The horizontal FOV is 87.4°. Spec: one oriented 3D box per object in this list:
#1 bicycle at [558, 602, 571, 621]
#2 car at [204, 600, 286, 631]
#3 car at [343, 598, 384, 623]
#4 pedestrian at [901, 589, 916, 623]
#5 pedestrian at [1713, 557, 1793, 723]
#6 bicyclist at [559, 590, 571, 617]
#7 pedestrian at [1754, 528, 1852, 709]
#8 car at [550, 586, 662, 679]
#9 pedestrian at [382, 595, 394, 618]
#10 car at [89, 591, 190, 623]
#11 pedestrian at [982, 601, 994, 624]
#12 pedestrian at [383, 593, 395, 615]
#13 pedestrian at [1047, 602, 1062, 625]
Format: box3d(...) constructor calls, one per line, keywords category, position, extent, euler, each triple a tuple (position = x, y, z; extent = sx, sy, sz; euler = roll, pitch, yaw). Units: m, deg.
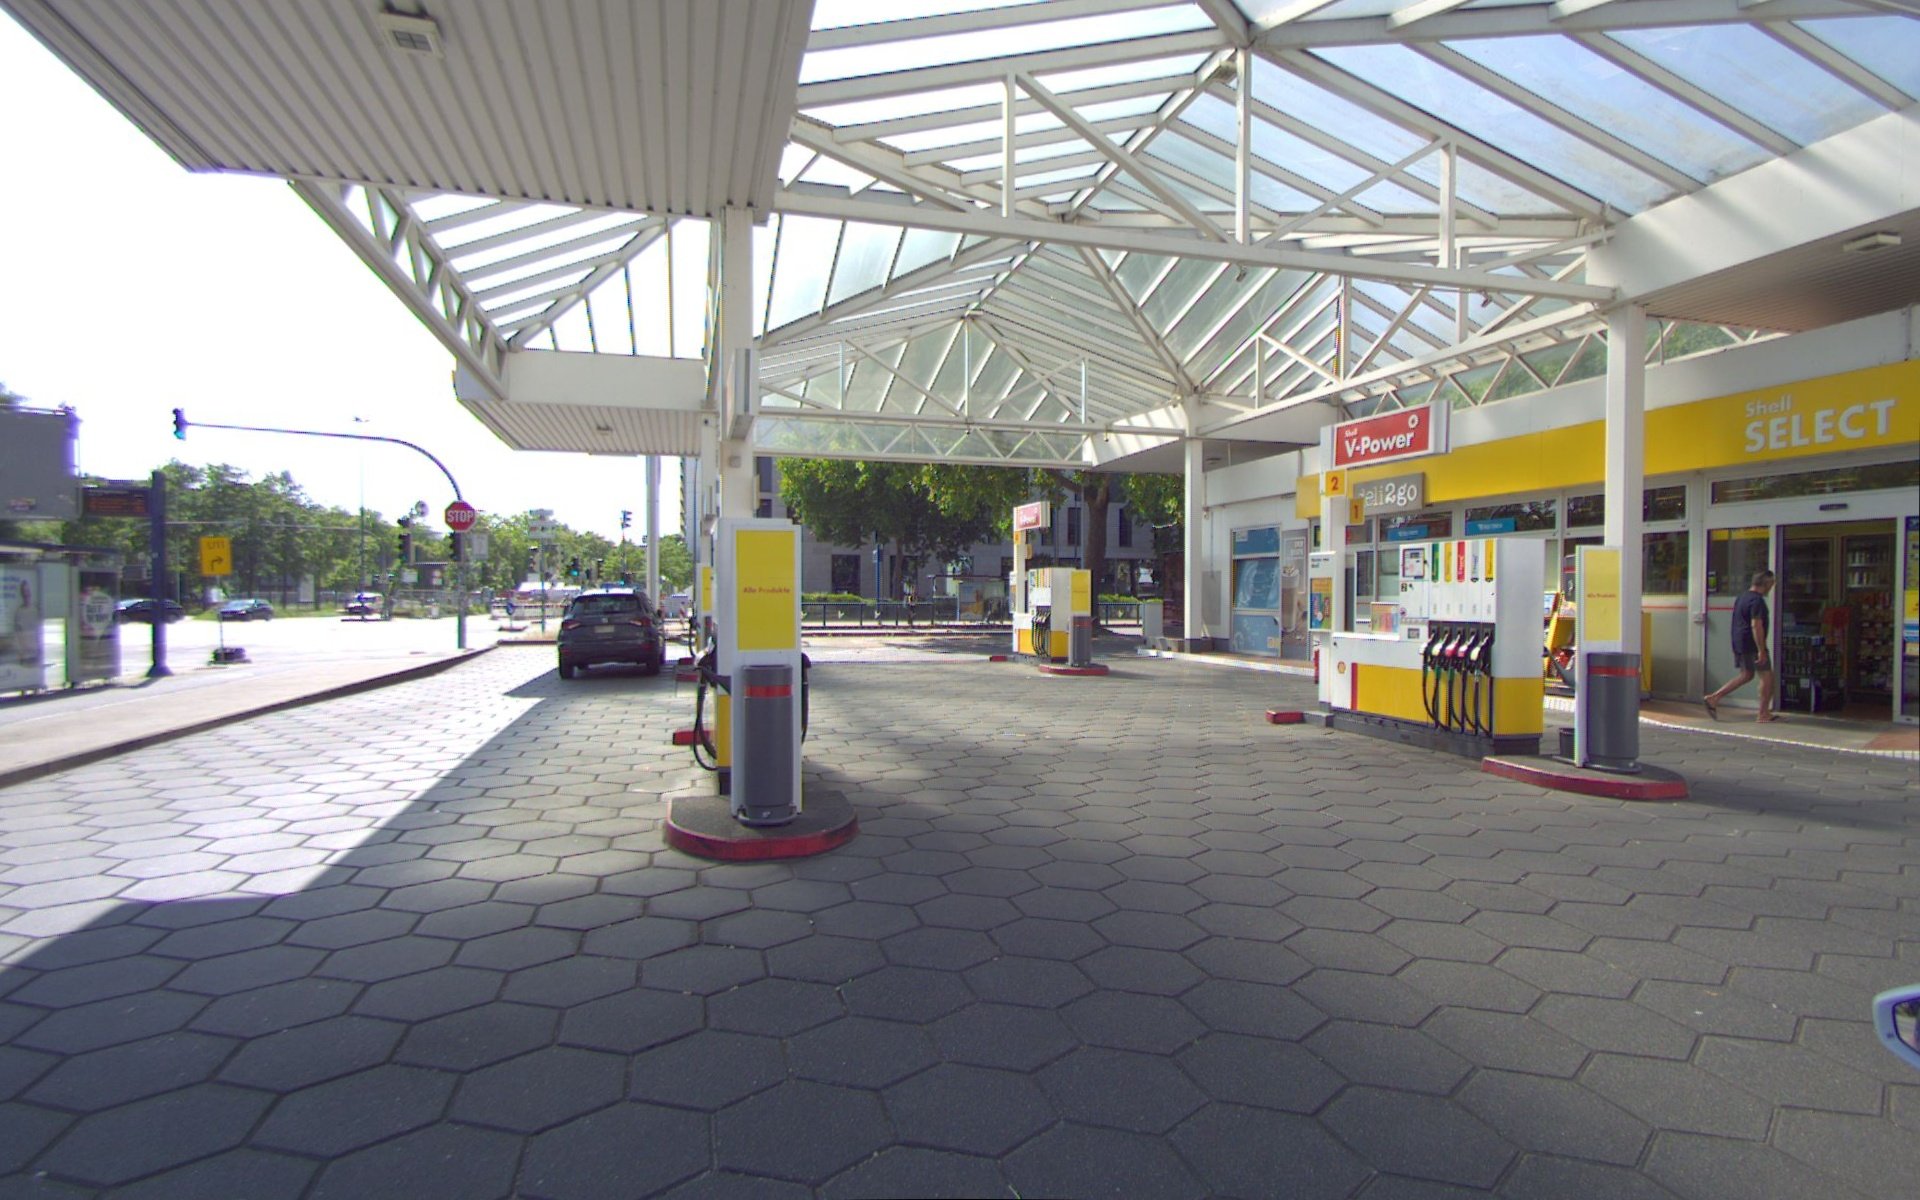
box3d(category="bicycle", position=(-23.820, 0.694, 60.504), extent=(0.631, 1.096, 2.013), euler=(0, 0, -25))
box3d(category="car", position=(-46.147, 0.982, 64.942), extent=(1.959, 1.829, 4.213), euler=(-2, 0, 7))
box3d(category="car", position=(-51.310, 0.876, 86.501), extent=(1.968, 2.040, 4.431), euler=(-2, 0, -17))
box3d(category="pedestrian", position=(-2.513, 0.303, 48.899), extent=(0.576, 1.613, 0.668), euler=(0, 2, -16))
box3d(category="pedestrian", position=(8.825, 0.428, 11.181), extent=(0.525, 1.785, 0.567), euler=(0, 1, -36))
box3d(category="bicyclist", position=(-23.880, 0.212, 60.658), extent=(0.631, 1.601, 1.166), euler=(0, 0, -24))
box3d(category="pedestrian", position=(9.886, 0.209, 11.782), extent=(0.732, 2.040, 0.619), euler=(0, 0, -25))
box3d(category="car", position=(-6.597, 0.556, 19.056), extent=(1.720, 1.552, 3.987), euler=(-1, 0, -16))
box3d(category="pedestrian", position=(-38.244, 0.424, 67.131), extent=(0.556, 1.489, 0.512), euler=(0, 1, -16))
box3d(category="car", position=(-46.587, 0.378, 57.141), extent=(1.962, 1.727, 3.997), euler=(0, 0, 24))
box3d(category="pedestrian", position=(1.412, 0.627, 50.233), extent=(0.491, 1.153, 0.523), euler=(0, 0, -9))
box3d(category="pedestrian", position=(-38.710, 0.242, 68.101), extent=(0.556, 1.489, 0.511), euler=(0, 1, -17))
box3d(category="pedestrian", position=(4.828, 0.705, 51.297), extent=(0.619, 1.153, 0.523), euler=(0, 1, -10))
